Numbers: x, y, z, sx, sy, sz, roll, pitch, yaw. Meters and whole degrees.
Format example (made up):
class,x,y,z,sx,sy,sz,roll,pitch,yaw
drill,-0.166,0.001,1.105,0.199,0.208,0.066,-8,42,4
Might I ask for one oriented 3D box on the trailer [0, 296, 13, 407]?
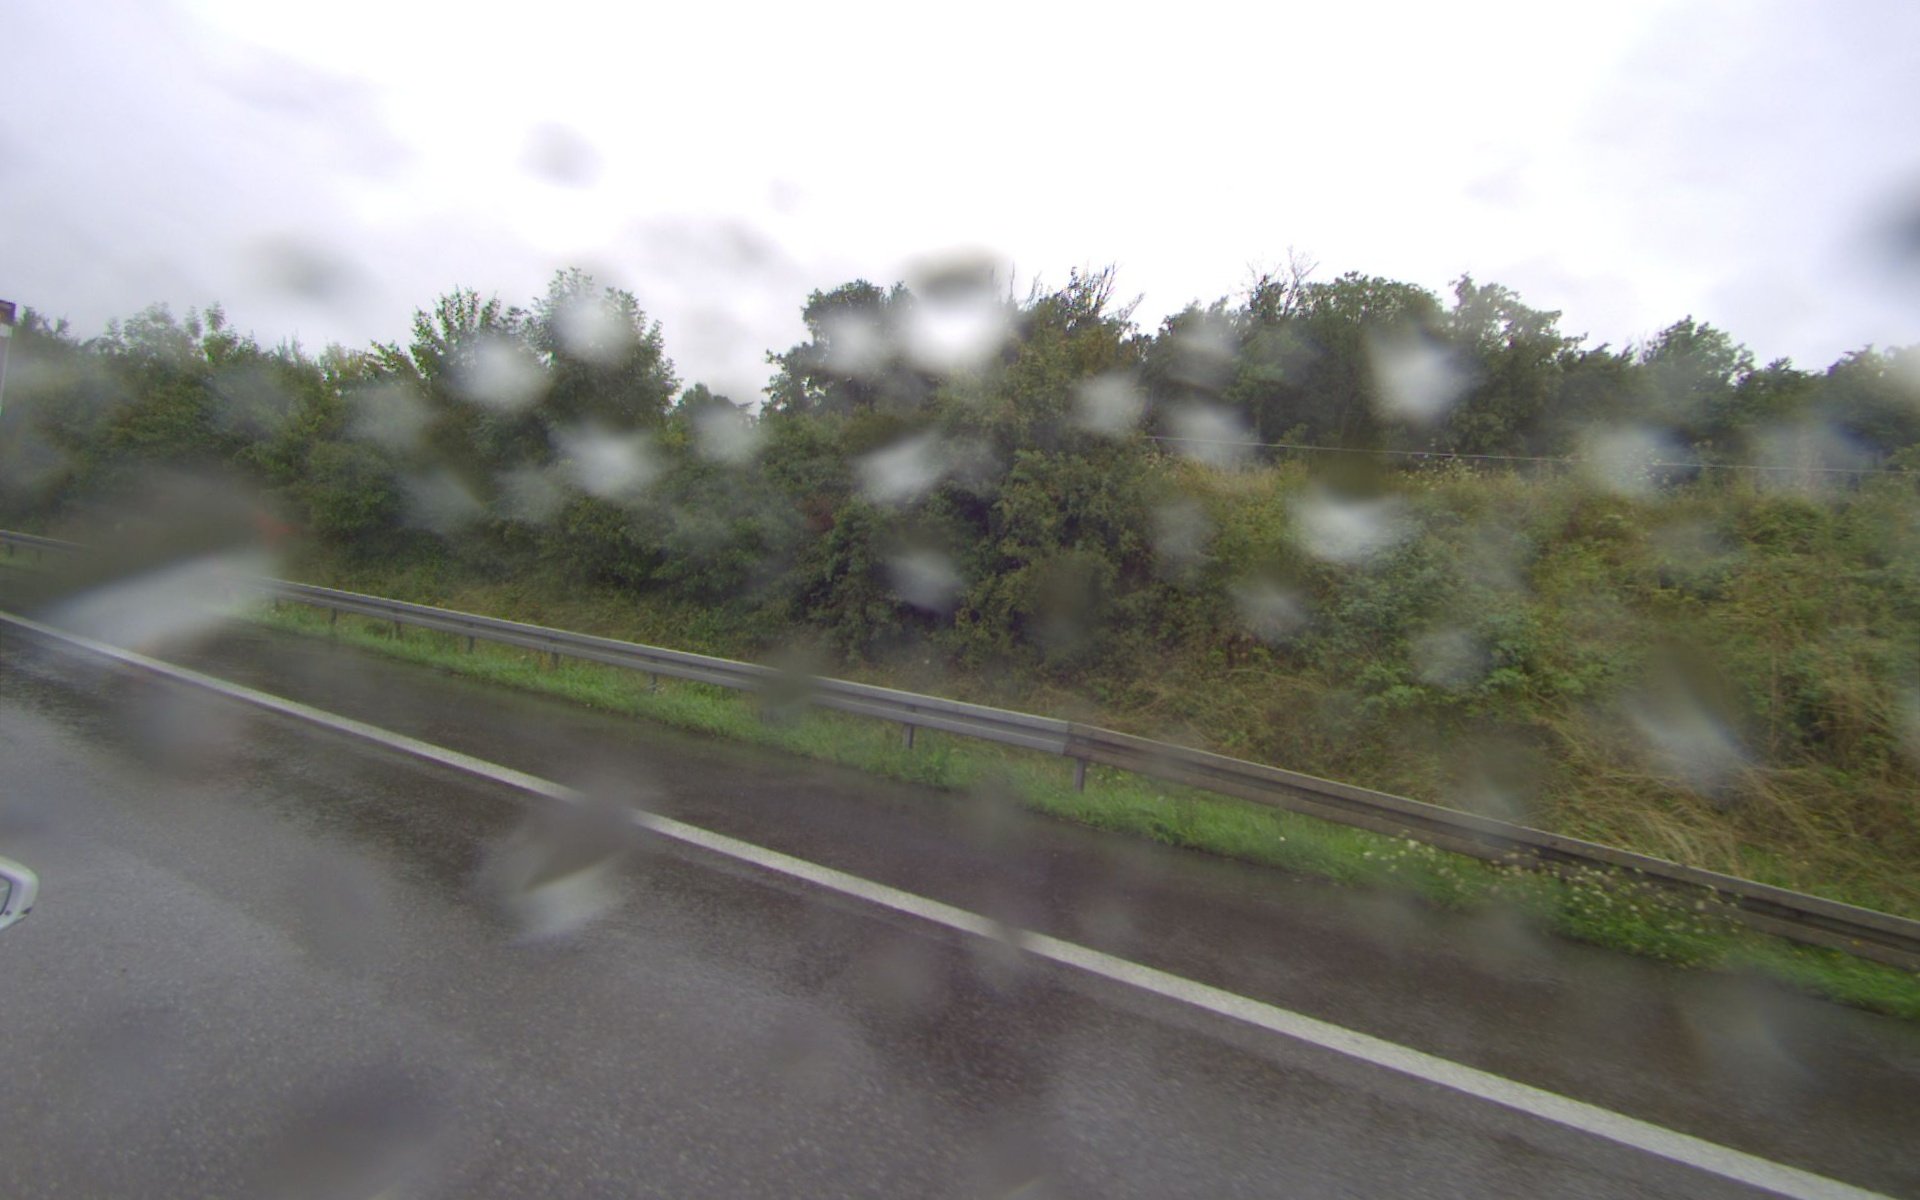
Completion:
class,x,y,z,sx,sy,sz,roll,pitch,yaw
trailer,-19.493,-2.787,15.973,14.387,4.061,2.634,7,-1,32
